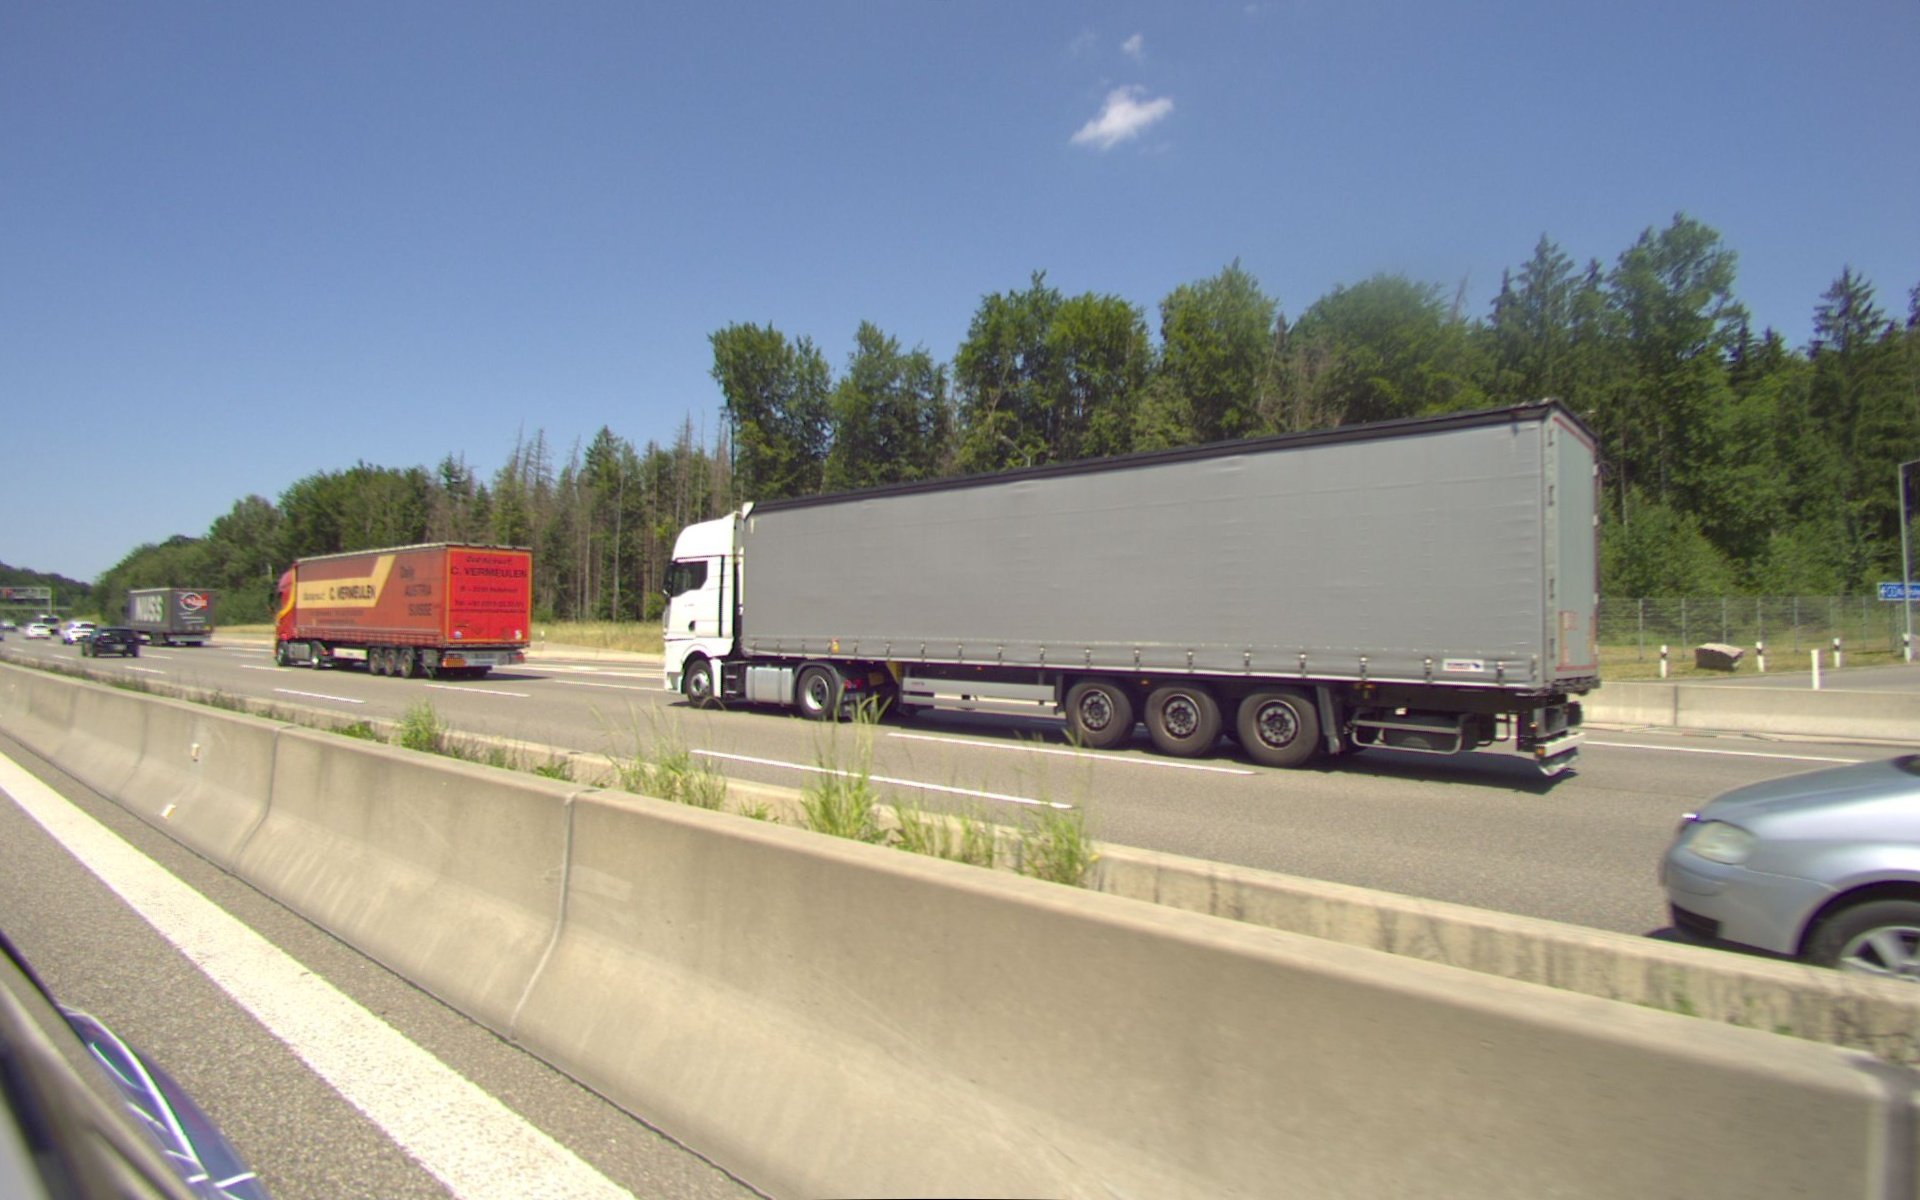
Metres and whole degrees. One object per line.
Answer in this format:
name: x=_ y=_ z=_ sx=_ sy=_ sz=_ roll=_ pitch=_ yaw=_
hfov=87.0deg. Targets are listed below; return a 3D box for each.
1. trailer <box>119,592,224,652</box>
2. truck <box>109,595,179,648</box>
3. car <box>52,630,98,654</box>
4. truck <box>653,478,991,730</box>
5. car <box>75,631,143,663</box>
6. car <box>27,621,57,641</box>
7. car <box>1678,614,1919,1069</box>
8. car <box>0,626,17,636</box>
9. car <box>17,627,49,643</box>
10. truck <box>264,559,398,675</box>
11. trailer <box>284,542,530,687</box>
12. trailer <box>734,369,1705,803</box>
trailer: x=-57.443 y=1.640 z=73.524 sx=14.272 sy=4.032 sz=3.307 roll=-1 pitch=-3 yaw=41
truck: x=-63.553 y=1.718 z=78.817 sx=5.536 sy=3.961 sz=3.253 roll=-1 pitch=-2 yaw=41
car: x=-65.082 y=3.067 z=74.410 sx=4.610 sy=1.683 sz=1.972 roll=-1 pitch=-3 yaw=41
truck: x=-2.863 y=0.137 z=19.624 sx=6.778 sy=4.062 sz=2.706 roll=-1 pitch=-2 yaw=41
car: x=-40.431 y=2.202 z=48.055 sx=4.314 sy=1.398 sz=1.802 roll=-1 pitch=-2 yaw=41
car: x=-117.019 y=3.916 z=128.985 sx=6.341 sy=2.431 sz=1.928 roll=-1 pitch=-3 yaw=41
car: x=5.596 y=0.865 z=3.045 sx=5.460 sy=1.655 sz=1.765 roll=-1 pitch=-2 yaw=41
car: x=-152.630 y=4.939 z=162.245 sx=3.862 sy=1.582 sz=1.711 roll=-1 pitch=-2 yaw=42
car: x=-87.722 y=3.277 z=95.739 sx=3.809 sy=1.497 sz=1.785 roll=-1 pitch=-2 yaw=42
truck: x=-24.012 y=0.678 z=38.514 sx=6.469 sy=4.080 sz=2.501 roll=-1 pitch=-2 yaw=41
trailer: x=-19.159 y=0.561 z=34.236 sx=14.175 sy=4.081 sz=2.544 roll=-1 pitch=-3 yaw=41
trailer: x=2.093 y=0.008 z=15.205 sx=14.460 sy=4.032 sz=2.725 roll=-1 pitch=-2 yaw=41
